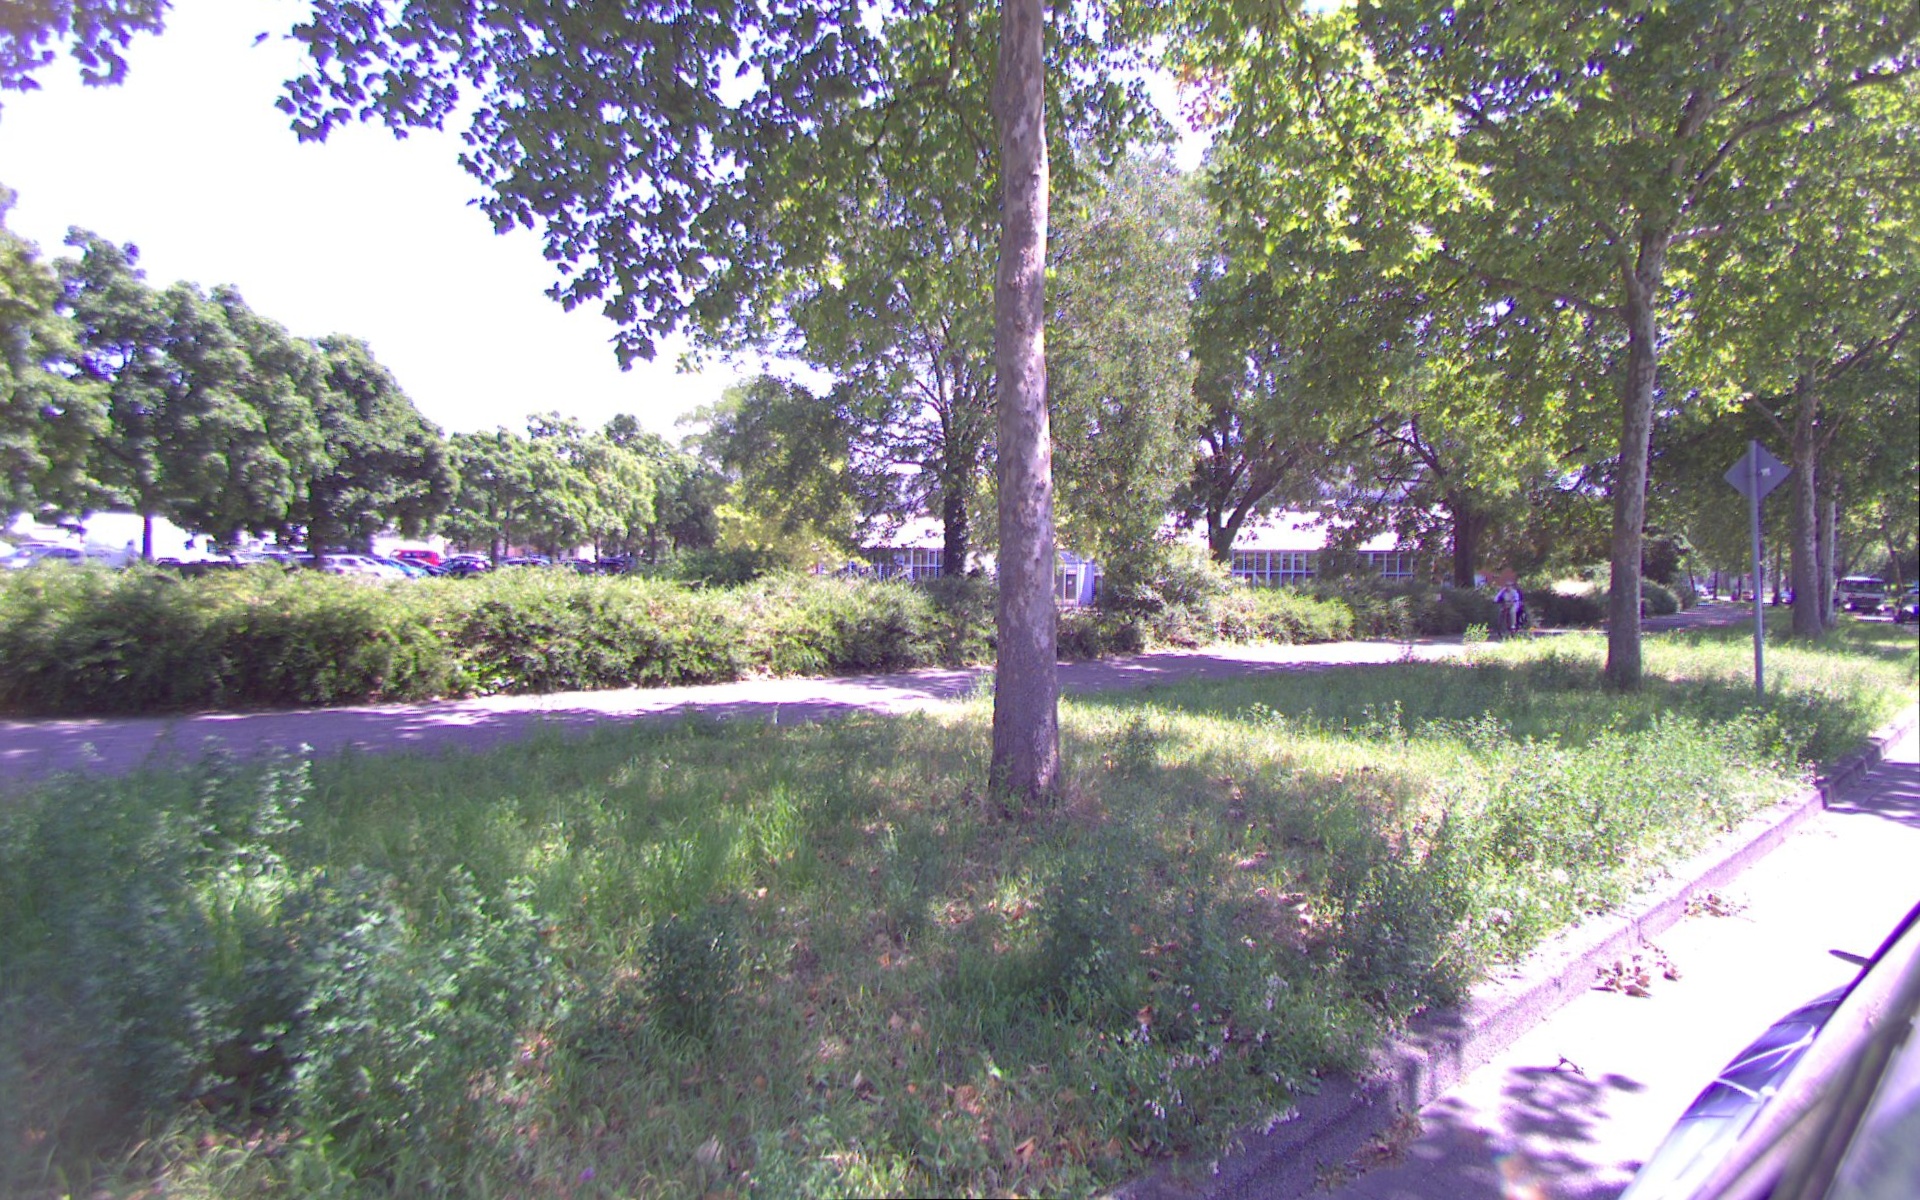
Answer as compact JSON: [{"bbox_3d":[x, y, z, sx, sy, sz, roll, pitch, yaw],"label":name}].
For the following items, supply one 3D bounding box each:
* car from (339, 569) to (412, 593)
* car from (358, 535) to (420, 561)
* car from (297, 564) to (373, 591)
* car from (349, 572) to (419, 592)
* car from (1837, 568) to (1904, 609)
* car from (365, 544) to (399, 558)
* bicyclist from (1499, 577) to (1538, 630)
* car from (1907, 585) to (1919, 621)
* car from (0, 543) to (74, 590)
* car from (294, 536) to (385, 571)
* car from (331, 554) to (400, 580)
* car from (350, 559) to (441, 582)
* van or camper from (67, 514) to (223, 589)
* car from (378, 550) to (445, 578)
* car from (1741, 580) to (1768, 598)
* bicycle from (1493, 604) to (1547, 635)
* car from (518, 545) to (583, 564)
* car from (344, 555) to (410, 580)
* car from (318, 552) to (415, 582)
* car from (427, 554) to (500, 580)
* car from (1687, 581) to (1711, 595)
[{"bbox_3d":[-25.370,-0.840,43.966,2.547,0.999,0.955,1,1,-8],"label":"car"},{"bbox_3d":[-76.920,-6.977,136.478,7.056,3.221,3.197,0,1,-24],"label":"car"},{"bbox_3d":[-26.206,-0.940,42.446,2.547,1.049,0.955,1,1,-8],"label":"car"},{"bbox_3d":[-25.748,-0.812,45.285,2.547,0.852,0.955,1,1,-8],"label":"car"},{"bbox_3d":[64.378,-0.853,71.676,2.904,2.687,6.281,2,2,37],"label":"car"},{"bbox_3d":[-70.022,-5.910,122.602,1.433,1.638,3.326,2,2,35],"label":"car"},{"bbox_3d":[14.560,0.089,26.379,0.653,1.355,0.601,0,1,-30],"label":"bicyclist"},{"bbox_3d":[50.414,0.153,52.261,1.992,1.816,3.941,2,1,41],"label":"car"},{"bbox_3d":[-36.429,-1.297,38.503,1.919,1.739,4.073,1,1,-1],"label":"car"},{"bbox_3d":[-38.707,-2.886,63.220,4.334,2.038,2.249,1,1,-5],"label":"car"},{"bbox_3d":[-27.416,-1.526,46.676,2.547,1.141,1.008,1,1,-8],"label":"car"},{"bbox_3d":[-27.392,-1.454,49.197,3.494,1.047,1.685,1,2,-8],"label":"car"},{"bbox_3d":[-32.394,-1.886,40.470,2.161,2.785,5.131,1,2,0],"label":"van or camper"},{"bbox_3d":[-40.833,-2.676,75.384,3.919,2.038,1.970,1,1,-6],"label":"car"},{"bbox_3d":[85.808,-1.171,109.368,1.987,1.860,3.951,2,2,34],"label":"car"},{"bbox_3d":[14.577,0.504,26.328,1.635,0.774,0.466,1,1,-31],"label":"bicycle"},{"bbox_3d":[-62.663,-6.978,155.027,8.647,2.620,3.054,1,1,-9],"label":"car"},{"bbox_3d":[-27.584,-1.536,47.895,2.547,1.141,0.955,1,1,-8],"label":"car"},{"bbox_3d":[-27.332,-1.517,46.657,3.501,1.240,1.623,1,1,-8],"label":"car"},{"bbox_3d":[-28.402,-1.893,57.953,3.357,1.383,1.720,1,1,-8],"label":"car"},{"bbox_3d":[103.801,-1.669,142.192,1.981,1.860,3.963,2,2,27],"label":"car"}]
